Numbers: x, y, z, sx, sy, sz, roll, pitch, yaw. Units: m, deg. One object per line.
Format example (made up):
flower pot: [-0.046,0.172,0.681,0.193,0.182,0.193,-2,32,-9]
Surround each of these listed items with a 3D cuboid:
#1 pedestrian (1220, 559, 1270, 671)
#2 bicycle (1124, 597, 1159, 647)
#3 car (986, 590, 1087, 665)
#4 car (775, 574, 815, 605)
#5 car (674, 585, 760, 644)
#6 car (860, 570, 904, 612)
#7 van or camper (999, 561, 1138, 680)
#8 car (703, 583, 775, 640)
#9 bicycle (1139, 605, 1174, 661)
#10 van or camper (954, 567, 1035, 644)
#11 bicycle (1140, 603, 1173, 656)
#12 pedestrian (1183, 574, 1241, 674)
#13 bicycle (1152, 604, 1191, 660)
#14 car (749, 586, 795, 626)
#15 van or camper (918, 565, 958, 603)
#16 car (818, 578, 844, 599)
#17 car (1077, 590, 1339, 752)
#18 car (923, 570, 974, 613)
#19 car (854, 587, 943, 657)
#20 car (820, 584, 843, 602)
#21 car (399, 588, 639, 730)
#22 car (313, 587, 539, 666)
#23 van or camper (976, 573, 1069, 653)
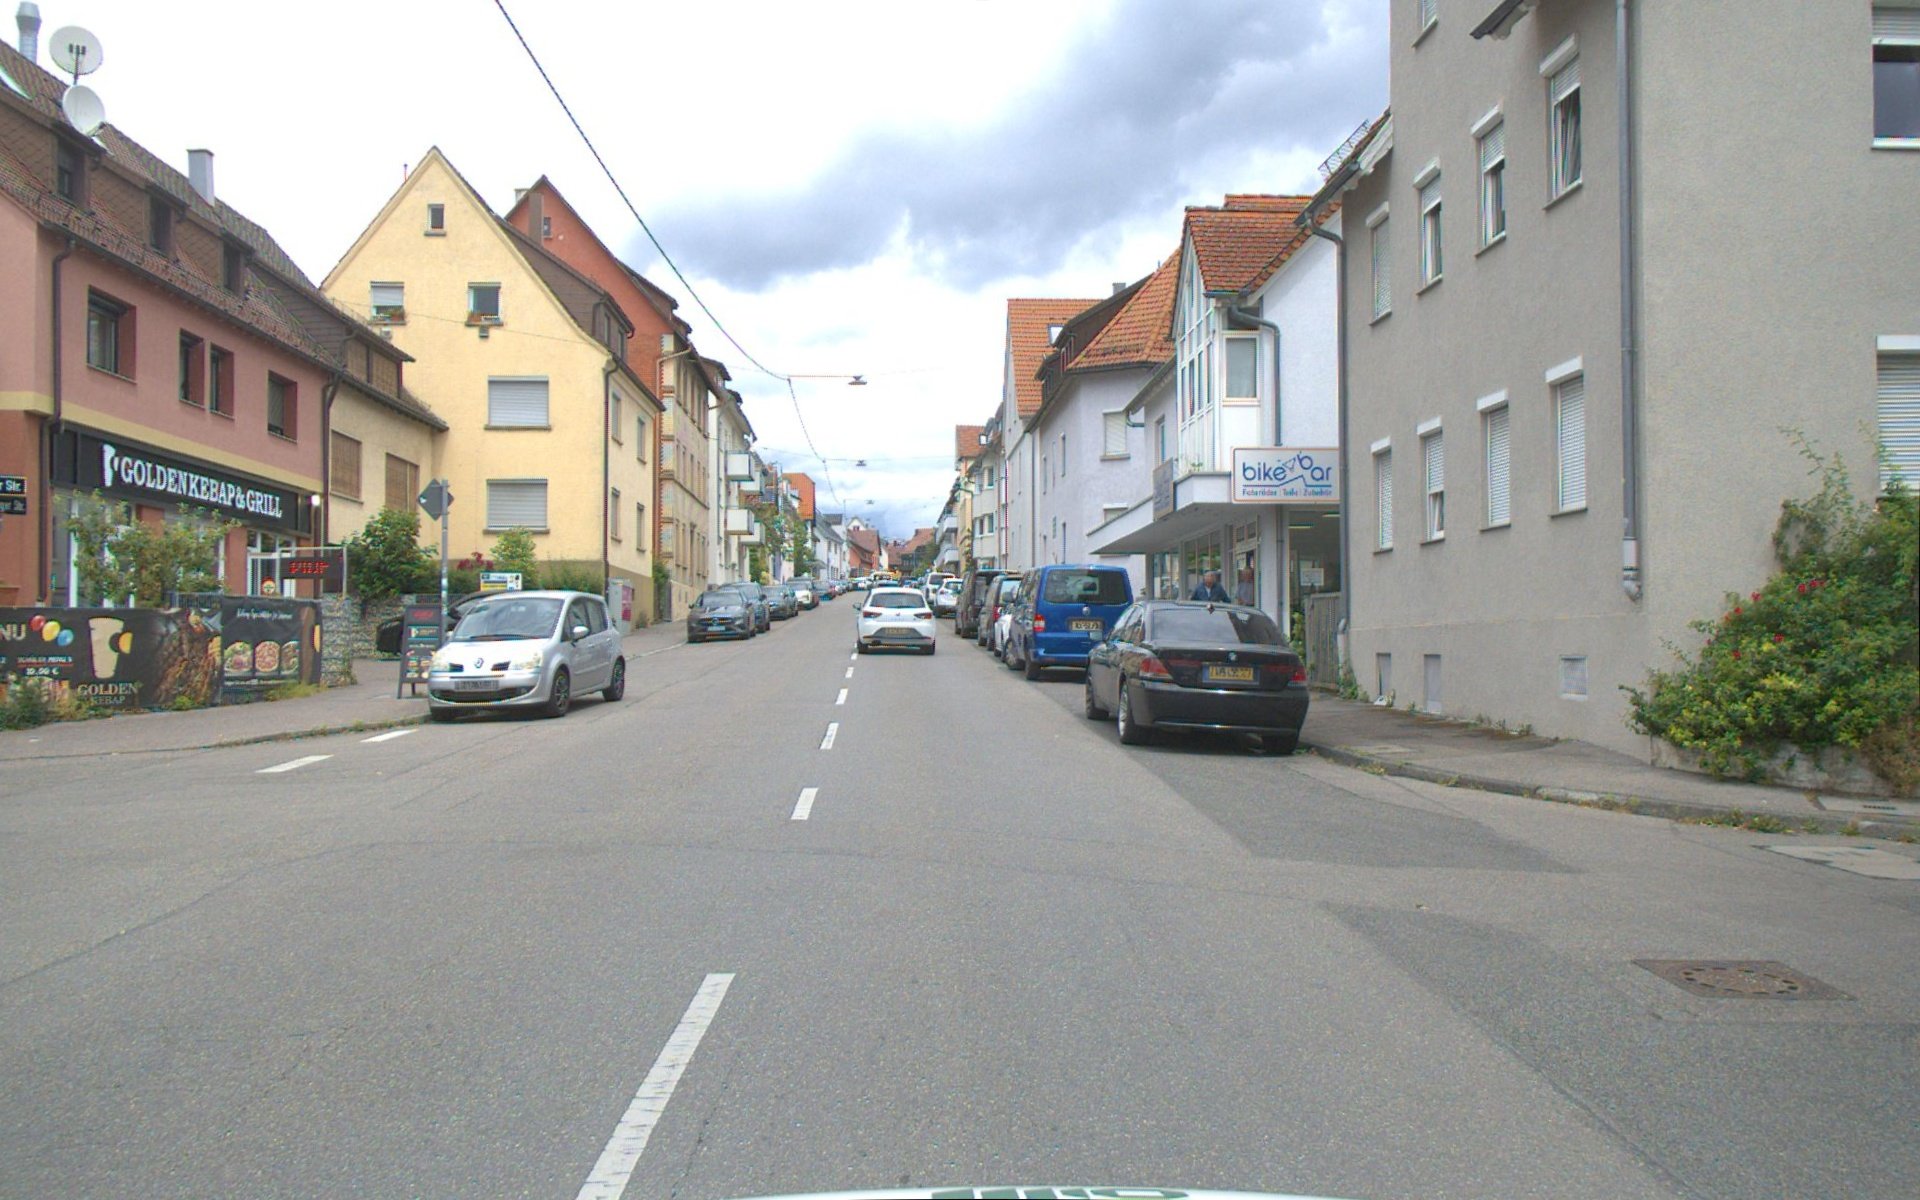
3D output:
pedestrian: [5.324,0.274,30.873,0.745,2.049,0.618,0,0,32]
bicycle: [4.276,0.510,38.896,0.291,1.132,1.574,-1,1,26]
car: [1.588,0.544,35.948,1.680,1.461,4.636,1,0,-4]
car: [-9.030,-0.589,90.717,1.954,1.680,3.998,0,1,-3]
car: [-7.066,0.390,48.521,1.954,1.498,4.242,-3,1,-2]
car: [-4.008,-0.470,84.460,2.110,2.049,3.997,1,0,-4]
van or camper: [1.857,0.314,29.877,1.888,1.959,4.827,0,1,-4]
car: [-7.269,0.343,54.742,1.954,1.679,4.550,-3,1,-4]
bicycle: [4.224,0.698,35.478,0.245,1.132,1.466,-1,1,26]
van or camper: [0.963,0.124,49.469,1.954,2.101,5.941,2,0,-3]
bicycle: [4.467,0.660,37.602,0.245,1.132,1.466,-1,1,26]
pedestrian: [4.508,0.420,29.594,0.854,1.755,0.618,0,0,32]
bicycle: [4.490,0.661,35.089,0.332,1.132,1.466,-1,1,26]
car: [-7.934,0.229,70.015,1.609,1.499,4.177,-3,1,-3]
van or camper: [-1.260,-0.907,93.657,1.903,2.090,4.558,0,1,-5]
car: [-10.433,-0.962,134.096,1.954,1.680,4.177,0,1,-3]
car: [2.605,0.686,18.614,1.954,1.544,4.888,1,0,-3]
car: [-0.543,-0.387,71.548,1.902,1.722,3.997,2,1,-4]
car: [-1.406,0.456,37.575,1.902,1.464,3.998,0,1,-2]
car: [-11.793,-0.649,151.515,1.954,1.680,4.177,0,1,-3]
car: [-5.741,0.703,22.049,1.795,1.605,4.033,-3,0,4]
car: [-11.240,0.573,35.043,4.144,1.498,1.999,-2,-3,-2]
van or camper: [1.512,0.285,41.800,1.834,1.860,4.677,2,0,-4]
